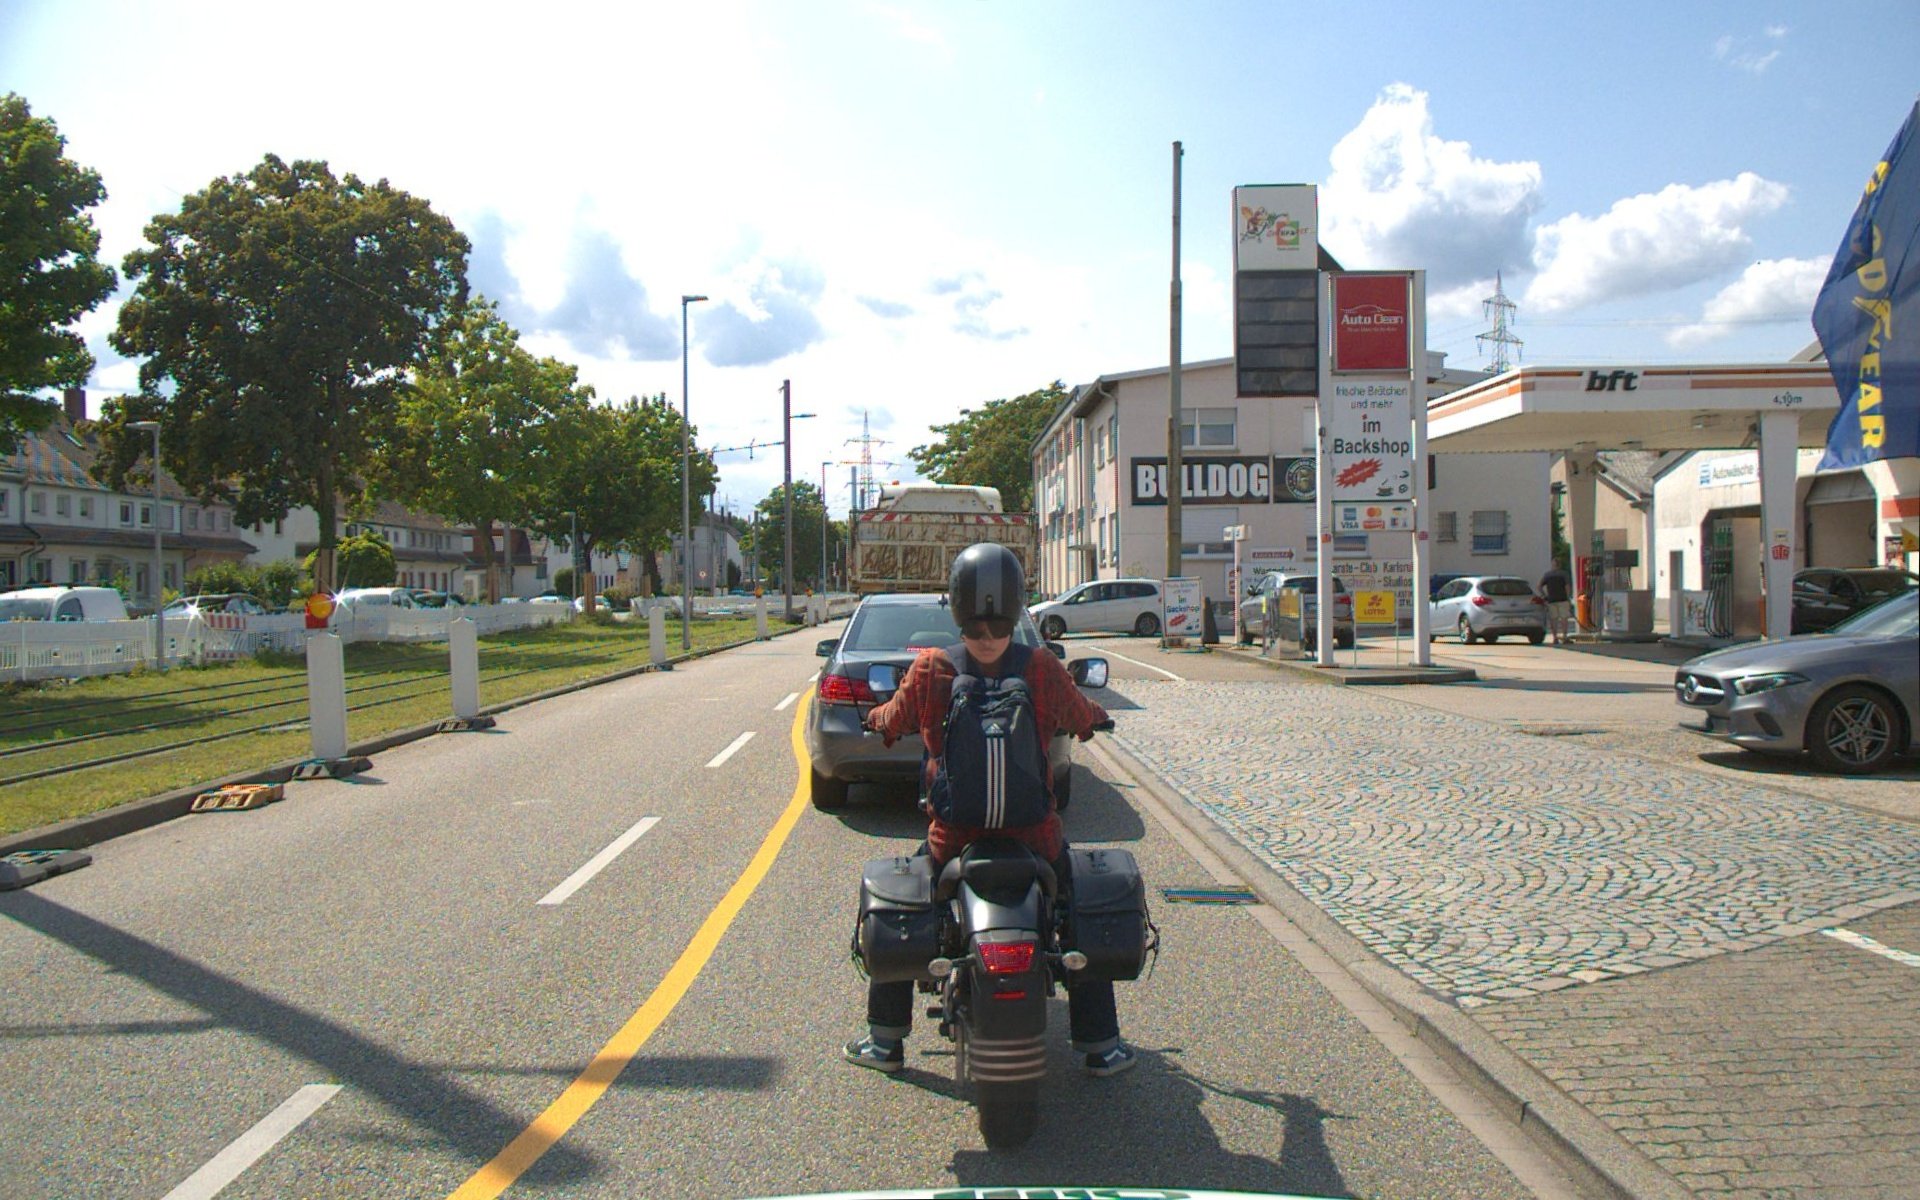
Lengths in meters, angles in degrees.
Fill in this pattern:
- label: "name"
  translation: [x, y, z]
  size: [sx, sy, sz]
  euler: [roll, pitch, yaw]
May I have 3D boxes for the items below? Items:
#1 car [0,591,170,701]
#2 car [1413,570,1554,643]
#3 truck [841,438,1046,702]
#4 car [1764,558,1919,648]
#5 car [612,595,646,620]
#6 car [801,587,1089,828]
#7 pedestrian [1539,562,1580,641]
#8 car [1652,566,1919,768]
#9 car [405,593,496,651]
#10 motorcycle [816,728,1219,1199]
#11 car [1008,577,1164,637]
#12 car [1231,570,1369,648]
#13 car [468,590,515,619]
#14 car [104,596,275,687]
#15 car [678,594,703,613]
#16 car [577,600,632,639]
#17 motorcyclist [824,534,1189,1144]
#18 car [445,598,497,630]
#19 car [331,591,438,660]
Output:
- label: "car"
  translation: [-16.433, 0.783, 30.388]
  size: [1.740, 1.853, 4.363]
  euler: [-1, 0, -1]
- label: "car"
  translation: [11.720, 0.118, 37.265]
  size: [1.770, 1.529, 3.831]
  euler: [-1, 0, -3]
- label: "truck"
  translation: [-0.264, -0.424, 25.365]
  size: [2.585, 3.354, 8.055]
  euler: [-1, 0, -1]
- label: "car"
  translation: [16.617, 0.023, 30.320]
  size: [1.770, 1.529, 3.832]
  euler: [-1, 0, -3]
- label: "car"
  translation: [-24.966, 0.550, 124.851]
  size: [1.740, 1.753, 4.127]
  euler: [-1, 0, -1]
- label: "car"
  translation: [-0.123, 0.664, 12.402]
  size: [1.786, 1.478, 3.999]
  euler: [1, 0, -1]
- label: "pedestrian"
  translation: [12.952, 0.029, 35.712]
  size: [0.696, 1.685, 0.546]
  euler: [-1, 0, 35]
- label: "car"
  translation: [7.797, 0.454, 12.792]
  size: [4.183, 1.440, 1.675]
  euler: [-1, 0, 3]
- label: "car"
  translation: [-16.973, 0.700, 55.260]
  size: [1.740, 1.837, 4.127]
  euler: [-1, 0, -1]
- label: "motorcycle"
  translation: [0.122, 0.994, 5.323]
  size: [0.959, 0.913, 2.653]
  euler: [-1, 0, -1]
- label: "car"
  translation: [3.561, 0.184, 47.089]
  size: [4.152, 1.570, 1.669]
  euler: [-1, 0, -9]
- label: "car"
  translation: [7.456, 0.175, 36.630]
  size: [1.636, 1.589, 4.236]
  euler: [-1, 0, -8]
- label: "car"
  translation: [-29.427, 0.277, 103.951]
  size: [1.740, 1.753, 4.127]
  euler: [-1, 0, -1]
- label: "car"
  translation: [-16.674, 0.840, 36.025]
  size: [1.740, 1.805, 4.227]
  euler: [-1, 0, -1]
- label: "car"
  translation: [-26.080, 0.287, 160.258]
  size: [1.740, 1.753, 4.250]
  euler: [-1, 0, -1]
- label: "car"
  translation: [-17.056, 0.911, 79.580]
  size: [1.740, 1.753, 4.127]
  euler: [-1, 0, -1]
- label: "motorcyclist"
  translation: [0.120, 0.640, 5.017]
  size: [0.959, 1.630, 1.087]
  euler: [-1, 0, -1]
- label: "car"
  translation: [-28.301, 0.780, 95.833]
  size: [1.740, 1.753, 4.127]
  euler: [-1, 0, -1]
- label: "car"
  translation: [-16.987, 0.716, 49.017]
  size: [1.740, 1.900, 4.127]
  euler: [-1, 0, -1]
